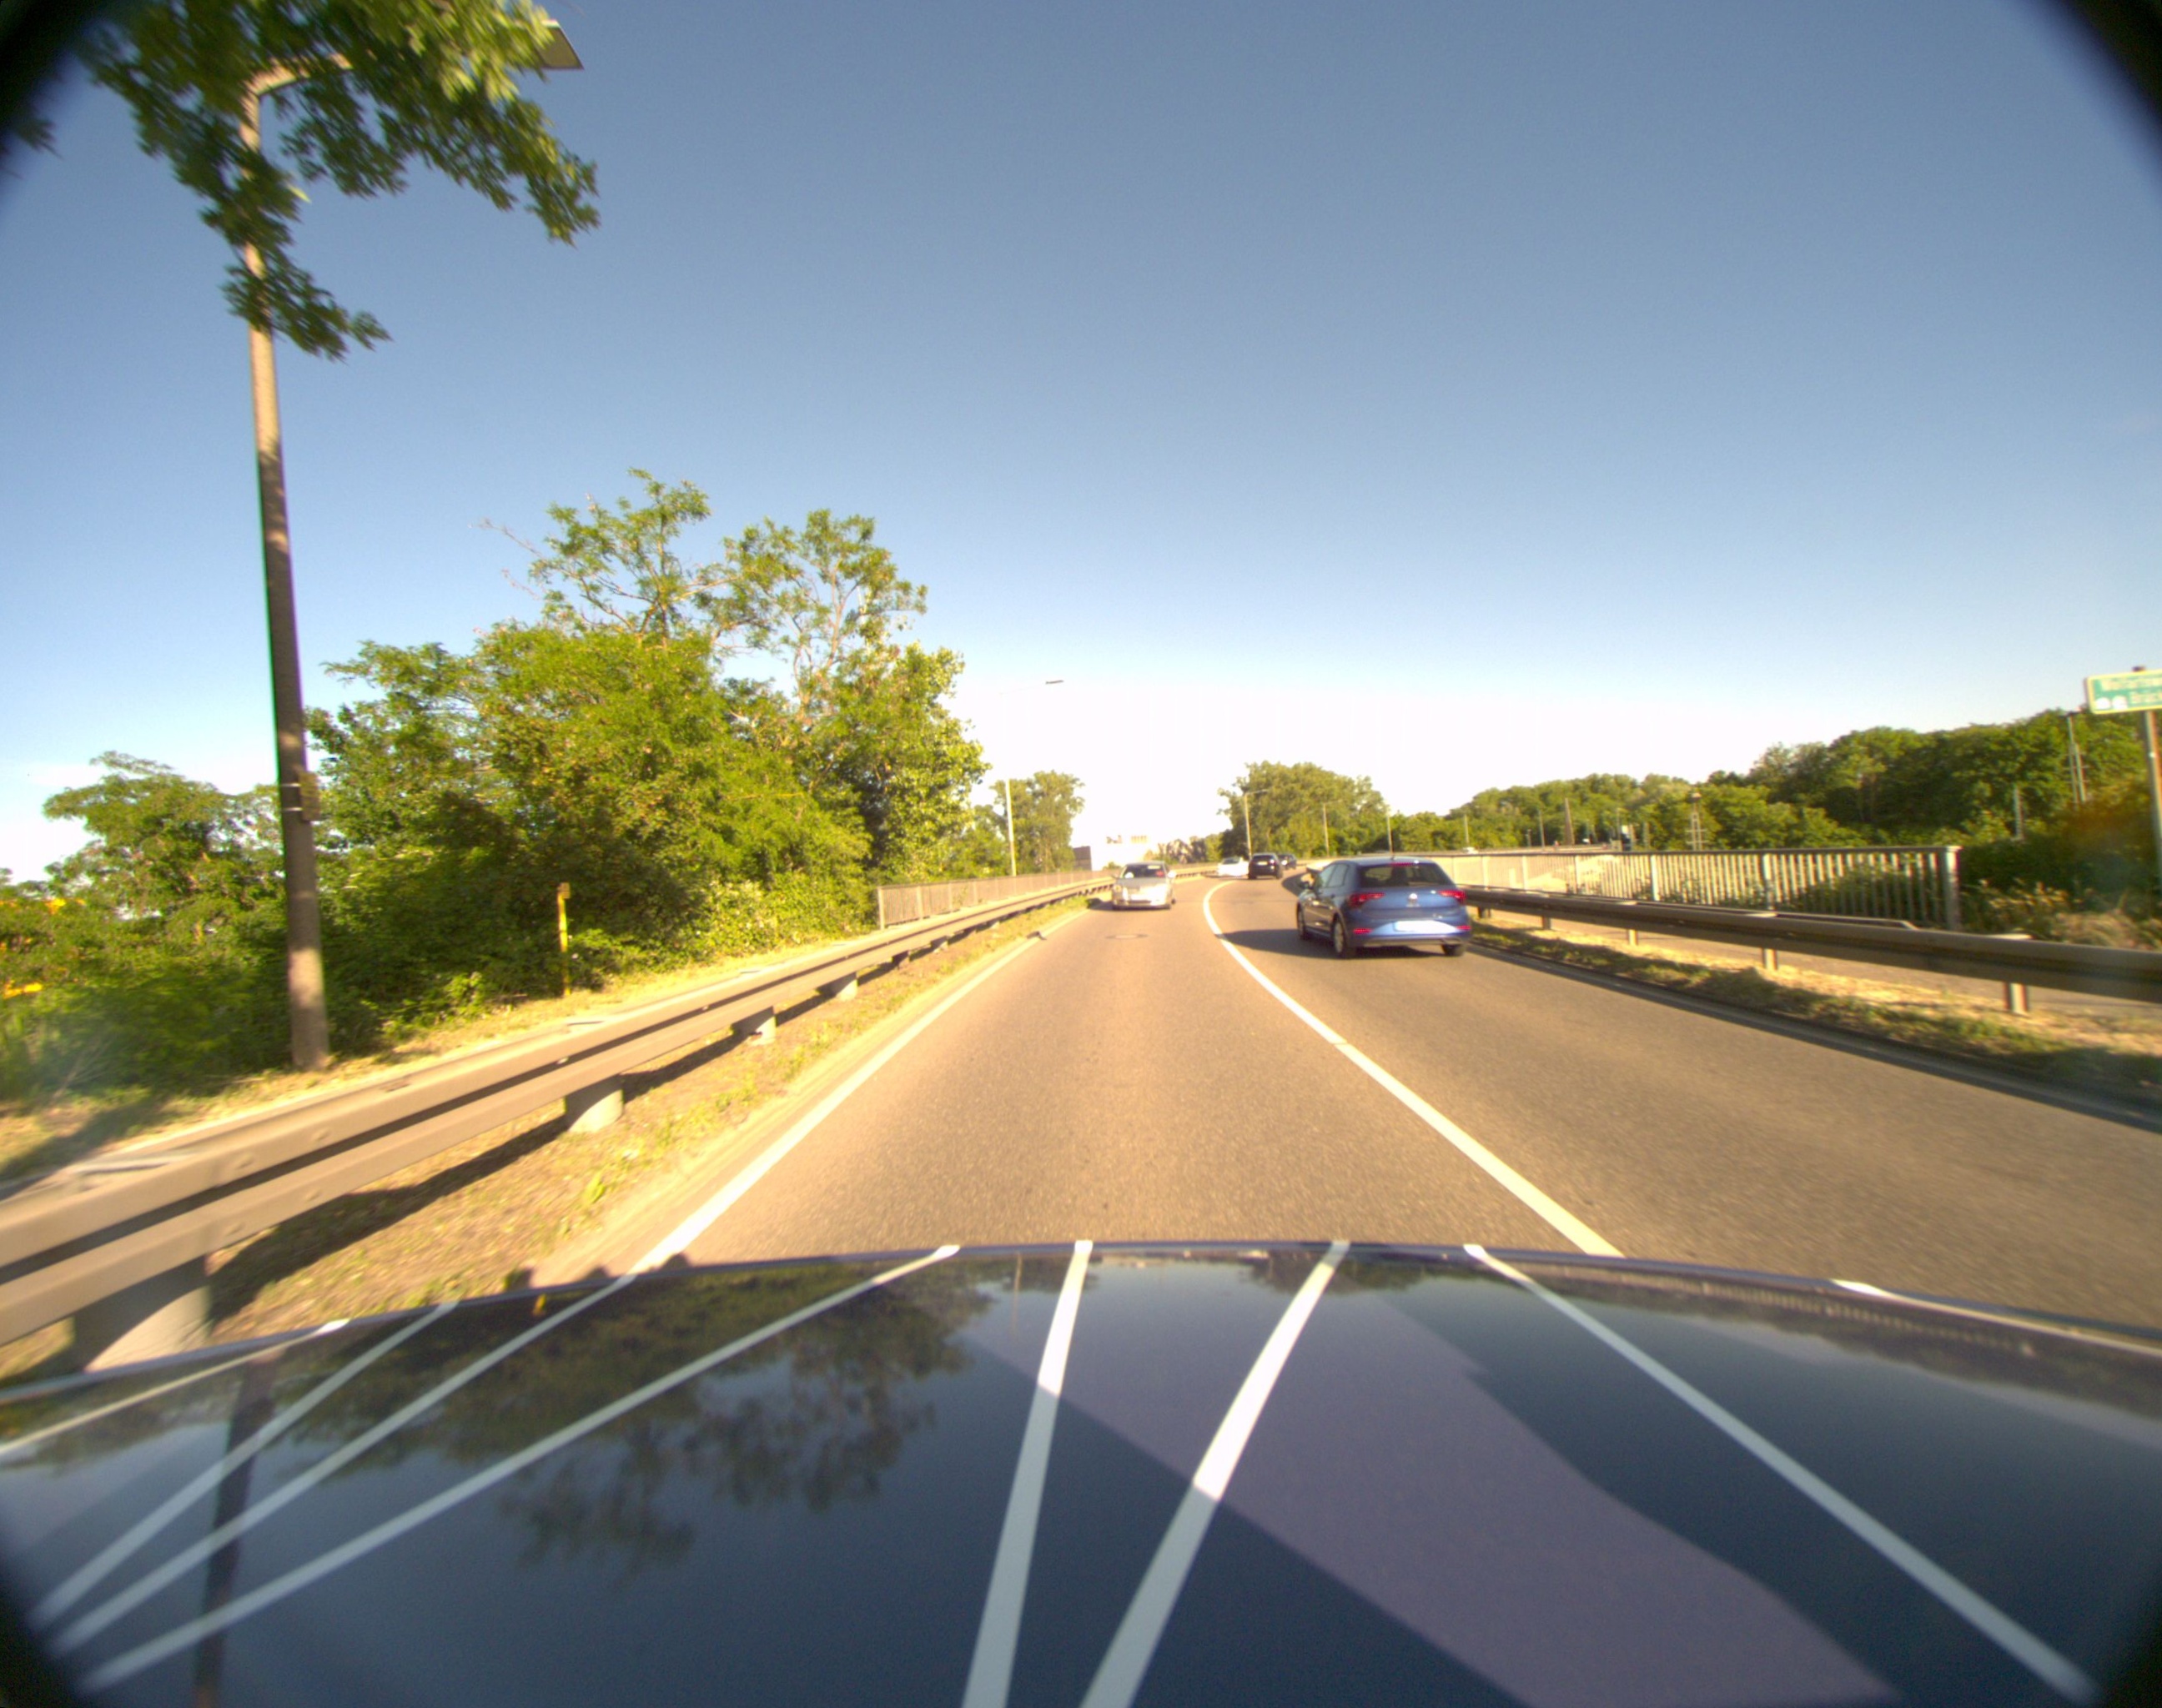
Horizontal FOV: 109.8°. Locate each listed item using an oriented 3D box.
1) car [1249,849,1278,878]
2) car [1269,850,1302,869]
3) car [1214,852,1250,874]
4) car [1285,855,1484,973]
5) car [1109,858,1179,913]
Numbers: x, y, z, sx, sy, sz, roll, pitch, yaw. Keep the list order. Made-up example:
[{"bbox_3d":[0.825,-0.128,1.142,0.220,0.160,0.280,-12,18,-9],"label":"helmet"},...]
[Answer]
[{"bbox_3d":[11.407,0.546,47.420,1.681,1.646,3.862,-2,0,14],"label":"car"},{"bbox_3d":[20.068,0.520,74.490,1.679,1.694,3.612,-2,1,41],"label":"car"},{"bbox_3d":[11.455,0.664,57.431,2.147,1.558,4.203,-1,0,18],"label":"car"},{"bbox_3d":[4.469,0.783,11.858,1.682,1.442,4.001,-2,0,4],"label":"car"},{"bbox_3d":[2.043,0.918,23.507,1.681,1.433,3.861,-2,0,11],"label":"car"}]
